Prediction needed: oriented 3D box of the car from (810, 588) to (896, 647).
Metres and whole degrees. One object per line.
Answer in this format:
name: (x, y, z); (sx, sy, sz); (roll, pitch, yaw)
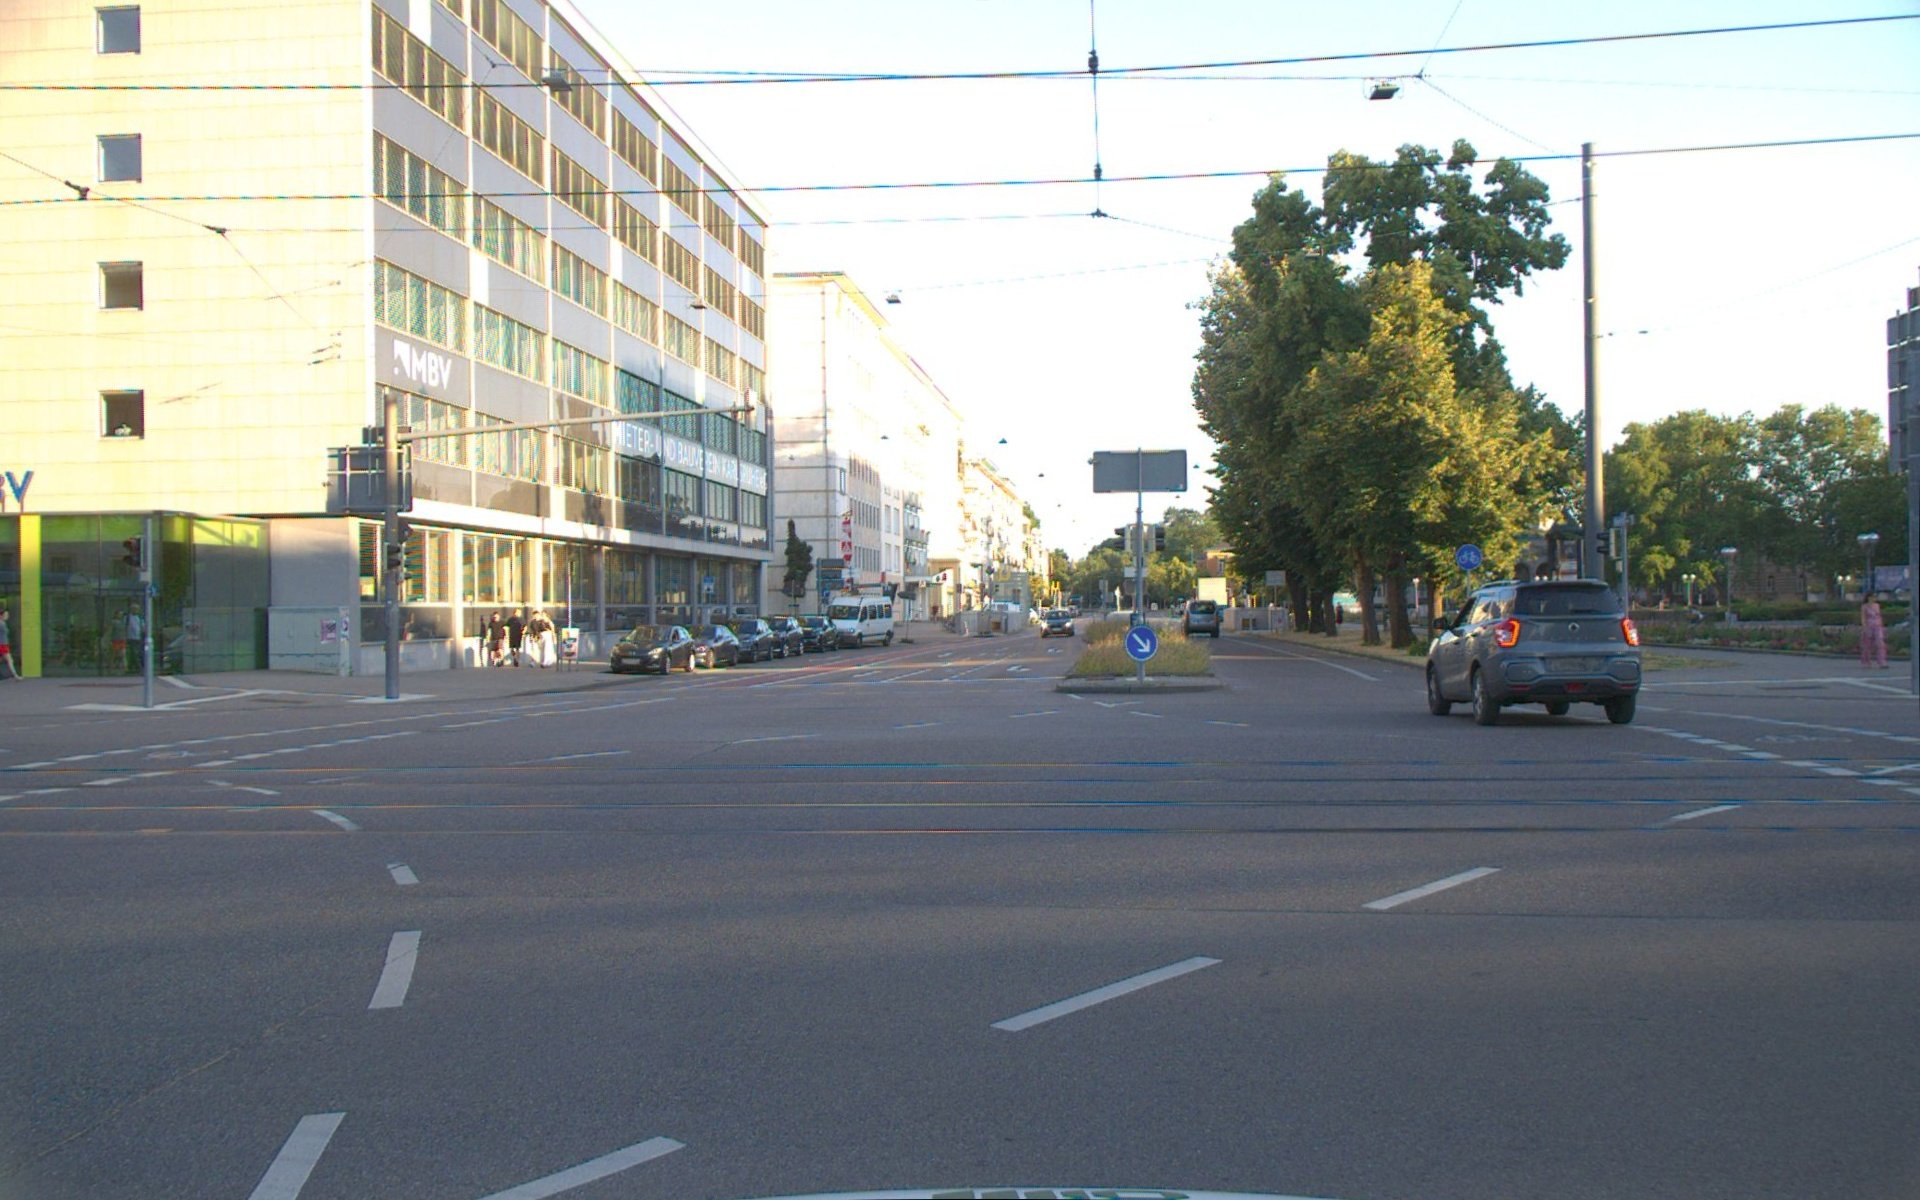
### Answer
car: (-5.177, 0.871, 80.715); (2.190, 2.675, 5.856); (3, 0, 17)

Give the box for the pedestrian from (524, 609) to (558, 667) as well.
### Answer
pedestrian: (-13.069, 1.173, 51.637); (0.823, 1.799, 0.786); (-1, -1, 2)

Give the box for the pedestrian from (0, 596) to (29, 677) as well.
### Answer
pedestrian: (-21.331, 0.810, 36.844); (0.728, 1.799, 0.709); (-1, -1, 6)

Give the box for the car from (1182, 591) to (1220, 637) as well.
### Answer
car: (12.365, 0.718, 84.999); (1.843, 2.277, 3.913); (-1, 0, 8)

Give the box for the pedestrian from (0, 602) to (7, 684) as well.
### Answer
pedestrian: (-21.405, 0.951, 36.139); (0.717, 1.799, 0.709); (-1, -1, 6)

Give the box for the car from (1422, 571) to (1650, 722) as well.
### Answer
car: (6.961, 0.525, 20.394); (1.657, 1.633, 4.092); (-1, 0, 5)

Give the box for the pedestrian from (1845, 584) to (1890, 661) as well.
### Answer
pedestrian: (19.785, 0.496, 36.054); (0.712, 1.655, 0.735); (-1, -1, 38)

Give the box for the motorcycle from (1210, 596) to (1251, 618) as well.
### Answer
motorcycle: (22.844, 0.623, 139.822); (3.412, 1.785, 0.926); (-1, -1, 9)

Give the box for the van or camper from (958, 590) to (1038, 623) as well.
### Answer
van or camper: (2.824, 0.469, 123.030); (5.436, 2.204, 2.228); (-2, -1, -24)

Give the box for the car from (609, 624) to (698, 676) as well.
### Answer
car: (-9.529, 1.520, 51.656); (1.657, 1.435, 3.871); (3, 0, 6)

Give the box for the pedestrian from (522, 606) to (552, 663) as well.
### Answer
pedestrian: (-13.450, 1.095, 52.622); (0.723, 1.799, 0.673); (-1, -1, 2)

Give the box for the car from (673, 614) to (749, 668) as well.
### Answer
car: (-8.622, 1.394, 57.555); (1.657, 1.694, 3.871); (3, 0, 6)

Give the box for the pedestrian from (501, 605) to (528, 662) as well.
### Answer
pedestrian: (-14.192, 1.051, 52.701); (0.639, 1.799, 0.646); (-1, -1, 2)

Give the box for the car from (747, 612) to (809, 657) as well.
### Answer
car: (-7.444, 1.386, 67.975); (1.657, 1.694, 3.871); (3, 0, 6)

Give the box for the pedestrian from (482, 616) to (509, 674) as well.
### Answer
pedestrian: (-14.618, 1.425, 52.061); (0.639, 1.799, 0.646); (-1, -1, 2)

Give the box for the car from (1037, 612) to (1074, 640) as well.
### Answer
car: (5.219, 1.406, 90.000); (1.657, 1.445, 4.177); (-1, 0, 8)

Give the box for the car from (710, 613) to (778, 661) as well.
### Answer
car: (-8.162, 1.371, 62.846); (1.657, 1.694, 3.871); (3, 0, 6)

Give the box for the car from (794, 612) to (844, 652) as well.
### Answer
car: (-6.311, 1.409, 74.252); (1.467, 1.694, 3.871); (3, 0, 6)
